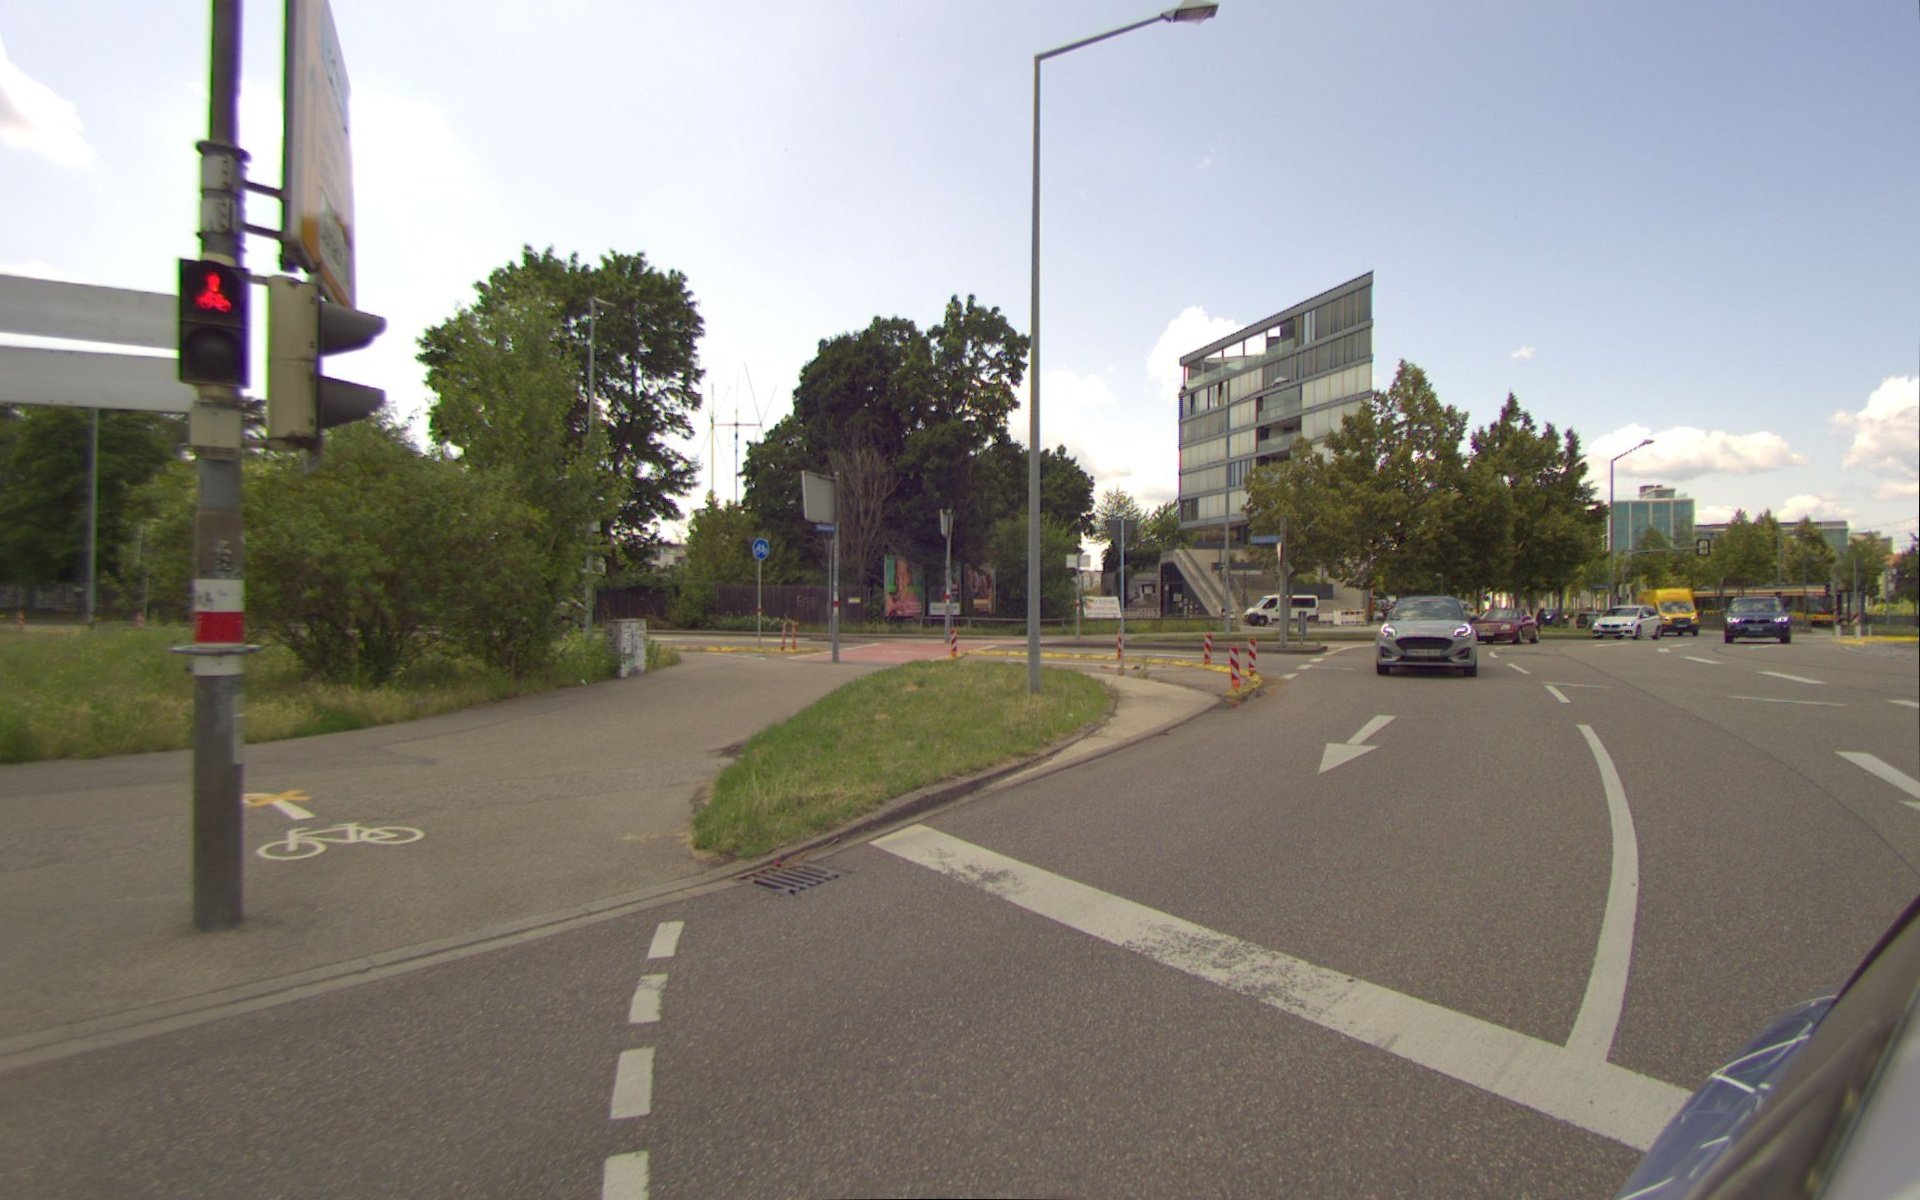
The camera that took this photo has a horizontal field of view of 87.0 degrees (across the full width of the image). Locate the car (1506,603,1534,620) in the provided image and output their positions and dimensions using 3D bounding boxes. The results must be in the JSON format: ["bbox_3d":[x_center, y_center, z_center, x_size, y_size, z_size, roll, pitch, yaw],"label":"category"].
[{"bbox_3d":[59.629,1.251,107.837,1.975,1.713,4.265,-2,-1,21],"label":"car"}]

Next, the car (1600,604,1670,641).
[{"bbox_3d":[31.065,1.023,46.557,4.057,1.619,1.671,0,-2,-42],"label":"car"}]

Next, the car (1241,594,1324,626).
[{"bbox_3d":[22.479,0.712,70.582,5.054,2.175,2.148,0,-1,1],"label":"car"}]

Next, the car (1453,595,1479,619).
[{"bbox_3d":[55.285,0.736,110.648,2.139,2.424,6.227,-2,-1,24],"label":"car"}]

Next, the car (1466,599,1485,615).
[{"bbox_3d":[58.477,0.791,114.733,1.807,1.672,3.961,-2,-1,27],"label":"car"}]

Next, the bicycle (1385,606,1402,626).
[{"bbox_3d":[28.420,1.010,66.326,0.802,1.260,2.397,0,0,18],"label":"bicycle"}]

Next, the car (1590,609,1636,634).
[{"bbox_3d":[49.376,1.583,76.587,1.975,1.784,4.265,-2,-1,21],"label":"car"}]

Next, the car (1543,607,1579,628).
[{"bbox_3d":[54.000,1.548,91.020,1.975,1.784,4.265,-2,-1,21],"label":"car"}]

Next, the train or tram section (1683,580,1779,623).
[{"bbox_3d":[72.069,0.200,95.055,2.660,3.685,14.571,0,-1,19],"label":"train or tram section"}]

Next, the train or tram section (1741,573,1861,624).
[{"bbox_3d":[67.599,-0.017,81.830,2.815,3.788,13.391,0,-1,19],"label":"train or tram section"}]

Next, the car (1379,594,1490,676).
[{"bbox_3d":[9.643,0.634,20.428,1.661,1.490,4.047,0,0,31],"label":"car"}]

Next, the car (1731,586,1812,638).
[{"bbox_3d":[28.251,0.395,35.179,1.770,1.619,4.062,-3,-1,44],"label":"car"}]

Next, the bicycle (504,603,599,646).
[{"bbox_3d":[-10.647,0.640,26.347,2.519,1.030,0.868,-2,-1,27],"label":"bicycle"}]

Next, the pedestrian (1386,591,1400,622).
[{"bbox_3d":[28.441,0.428,66.421,0.745,2.039,1.224,-1,0,20],"label":"pedestrian"}]

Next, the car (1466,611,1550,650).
[{"bbox_3d":[19.524,1.041,36.014,1.669,1.277,4.028,0,0,43],"label":"car"}]

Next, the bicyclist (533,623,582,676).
[{"bbox_3d":[-10.462,1.278,26.329,0.804,1.342,0.868,-2,-1,27],"label":"bicyclist"}]

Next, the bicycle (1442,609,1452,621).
[{"bbox_3d":[44.338,1.369,92.121,0.509,1.102,1.740,1,-1,16],"label":"bicycle"}]

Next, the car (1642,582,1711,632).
[{"bbox_3d":[43.485,0.398,61.621,2.263,2.889,7.189,0,0,26],"label":"car"}]
